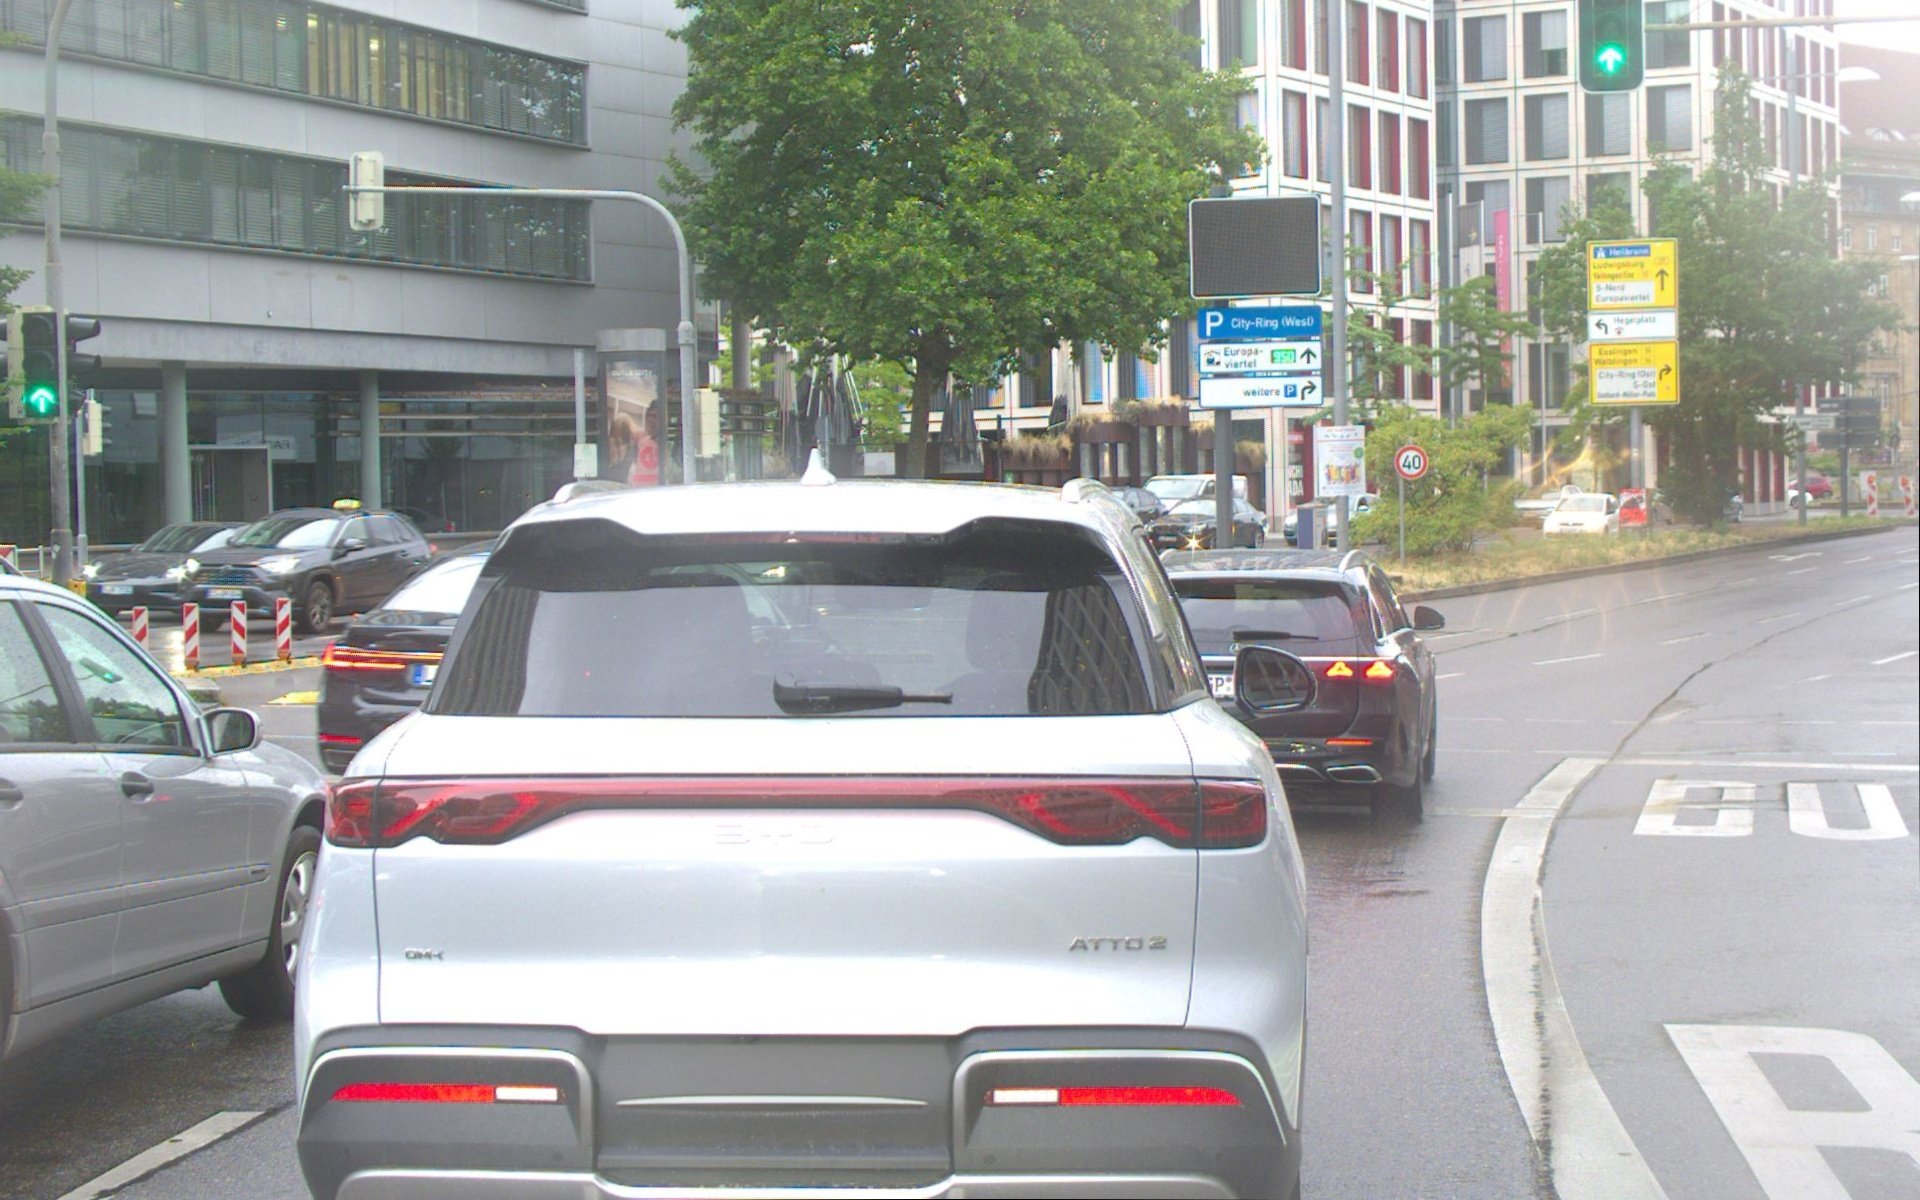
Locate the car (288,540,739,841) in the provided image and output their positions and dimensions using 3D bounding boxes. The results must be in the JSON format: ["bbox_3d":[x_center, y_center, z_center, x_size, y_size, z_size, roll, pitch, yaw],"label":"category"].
[{"bbox_3d":[-2.366,0.433,19.173,1.571,1.481,3.999,1,1,6],"label":"car"}]

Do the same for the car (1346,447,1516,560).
[{"bbox_3d":[8.941,-1.791,64.952,1.996,2.007,4.843,1,1,23],"label":"car"}]

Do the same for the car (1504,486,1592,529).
[{"bbox_3d":[20.997,-3.324,122.697,1.996,1.483,3.994,0,2,27],"label":"car"}]

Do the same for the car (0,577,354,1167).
[{"bbox_3d":[-2.991,0.649,9.137,1.571,1.402,4.108,1,1,7],"label":"car"}]

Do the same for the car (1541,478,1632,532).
[{"bbox_3d":[17.215,-2.617,94.337,1.633,1.432,3.903,0,2,23],"label":"car"}]

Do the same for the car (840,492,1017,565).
[{"bbox_3d":[-0.634,-1.575,75.008,1.816,1.505,5.189,0,2,25],"label":"car"}]

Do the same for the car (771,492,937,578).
[{"bbox_3d":[-1.961,-1.229,64.686,1.645,1.575,4.081,1,1,21],"label":"car"}]

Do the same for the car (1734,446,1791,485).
[{"bbox_3d":[38.157,-6.368,163.451,1.609,1.735,3.439,1,1,32],"label":"car"}]

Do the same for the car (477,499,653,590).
[{"bbox_3d":[-7.044,-0.973,61.617,1.640,1.565,3.715,1,1,20],"label":"car"}]

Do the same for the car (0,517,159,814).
[{"bbox_3d":[-5.615,0.315,17.257,1.707,1.481,3.998,1,1,9],"label":"car"}]

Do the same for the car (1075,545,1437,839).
[{"bbox_3d":[1.785,0.449,19.626,1.694,1.481,3.998,1,1,10],"label":"car"}]

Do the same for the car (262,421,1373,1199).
[{"bbox_3d":[-0.184,0.540,7.529,1.776,1.673,4.000,1,1,2],"label":"car"}]

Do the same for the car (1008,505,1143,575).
[{"bbox_3d":[2.759,-1.433,81.219,1.633,1.553,4.588,0,2,23],"label":"car"}]

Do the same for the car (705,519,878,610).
[{"bbox_3d":[-2.633,-0.562,54.655,1.691,1.380,3.866,1,1,14],"label":"car"}]

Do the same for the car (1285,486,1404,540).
[{"bbox_3d":[10.780,-2.444,96.217,1.996,1.483,3.994,0,2,27],"label":"car"}]

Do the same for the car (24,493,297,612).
[{"bbox_3d":[-11.637,-0.714,50.312,1.996,1.605,3.996,2,2,20],"label":"car"}]

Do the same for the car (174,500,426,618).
[{"bbox_3d":[-8.941,-0.584,46.893,1.645,1.530,4.149,1,1,17],"label":"car"}]
